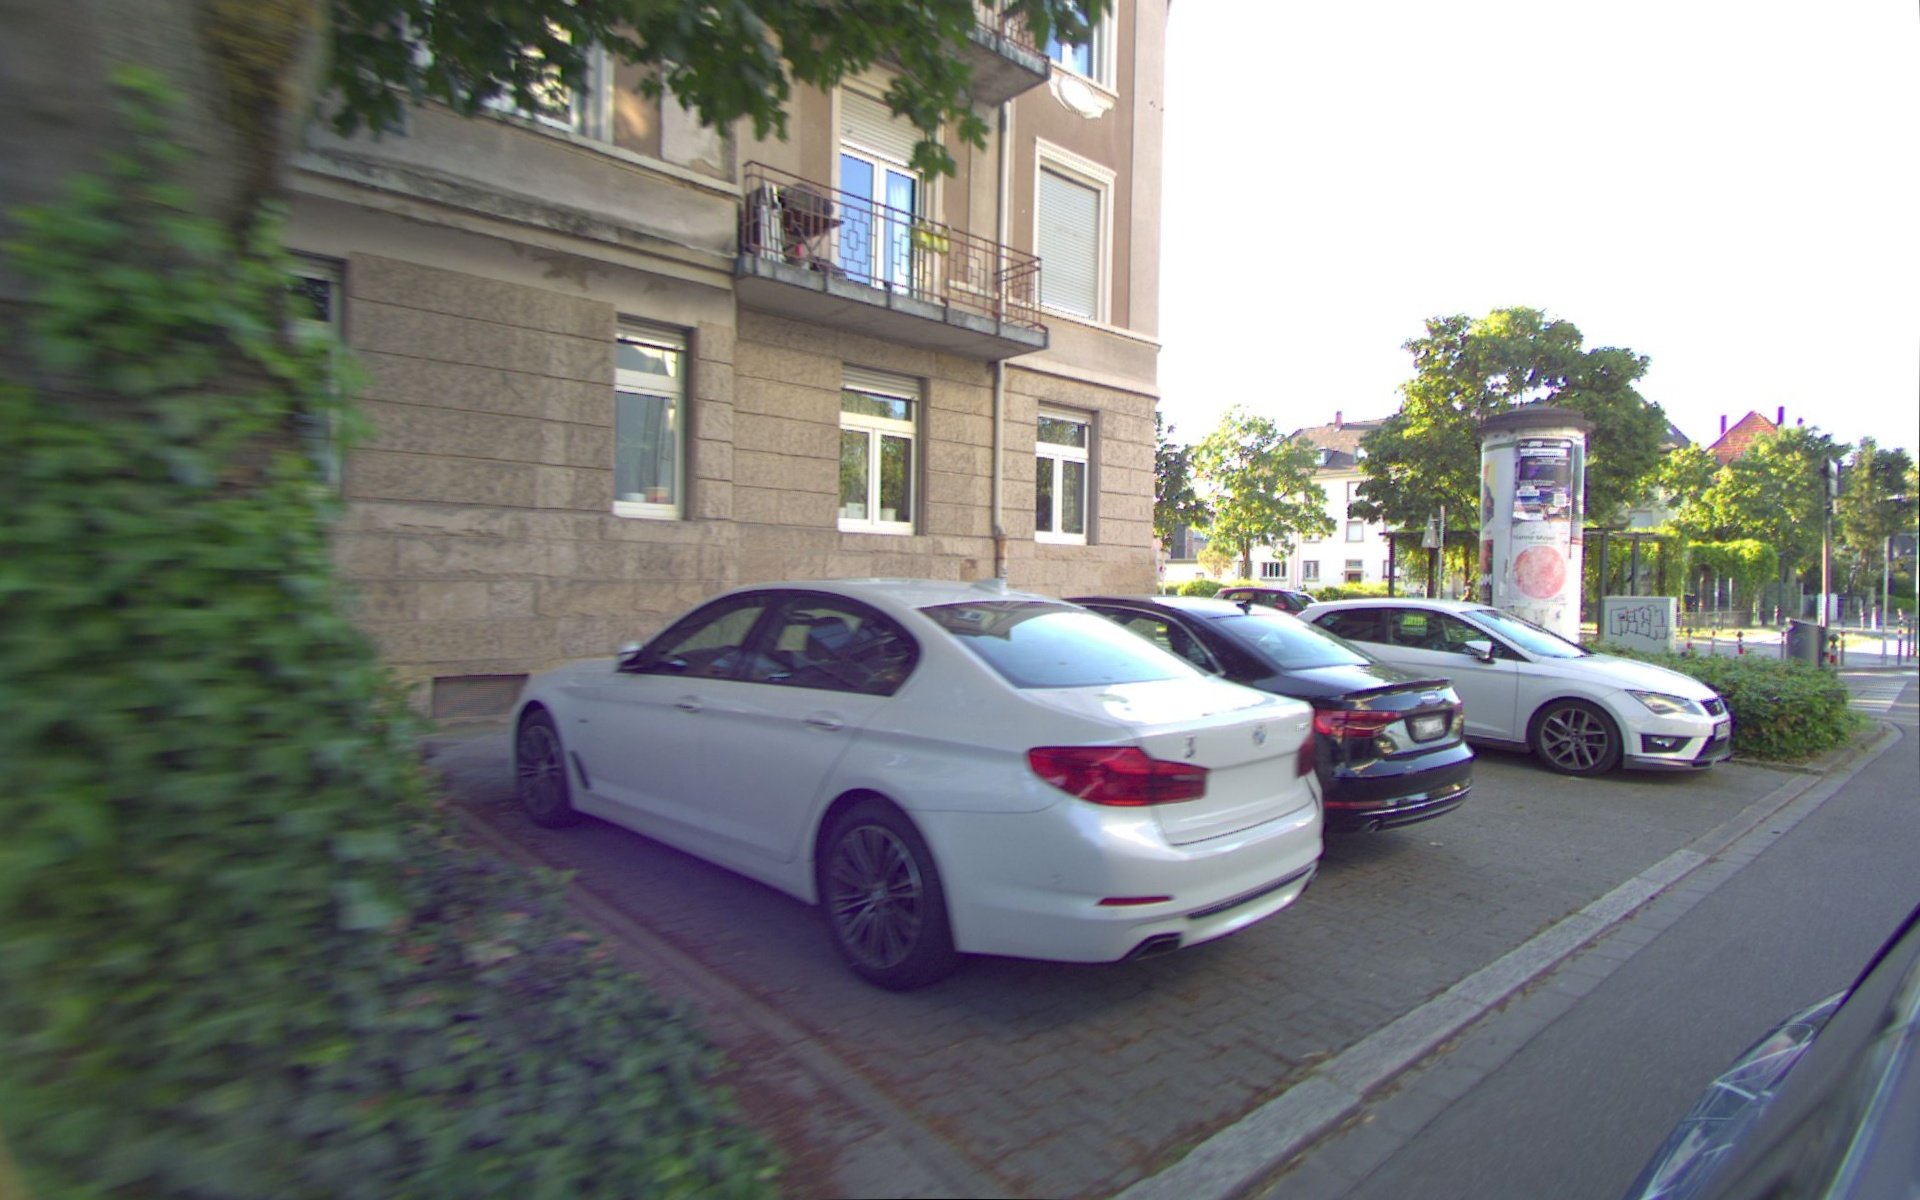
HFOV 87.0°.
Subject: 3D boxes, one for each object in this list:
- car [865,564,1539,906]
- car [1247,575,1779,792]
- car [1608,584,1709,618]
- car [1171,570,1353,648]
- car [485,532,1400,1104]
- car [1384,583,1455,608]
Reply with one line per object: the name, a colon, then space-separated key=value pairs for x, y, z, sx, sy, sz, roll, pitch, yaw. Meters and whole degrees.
car: x=1.279 y=0.565 z=6.755 sx=1.644 sy=1.465 sz=4.150 roll=0 pitch=3 yaw=-42
car: x=5.036 y=0.582 z=9.646 sx=1.830 sy=1.524 sz=4.055 roll=0 pitch=2 yaw=-42
car: x=37.707 y=0.025 z=54.689 sx=1.792 sy=1.662 sz=4.207 roll=3 pitch=-1 yaw=-43
car: x=7.629 y=0.194 z=25.863 sx=1.781 sy=1.763 sz=4.080 roll=3 pitch=0 yaw=-43
car: x=-0.473 y=0.517 z=5.054 sx=4.478 sy=1.544 sz=1.923 roll=4 pitch=2 yaw=44
car: x=29.526 y=-0.309 z=65.071 sx=1.705 sy=1.537 sz=3.755 roll=0 pitch=2 yaw=-40
